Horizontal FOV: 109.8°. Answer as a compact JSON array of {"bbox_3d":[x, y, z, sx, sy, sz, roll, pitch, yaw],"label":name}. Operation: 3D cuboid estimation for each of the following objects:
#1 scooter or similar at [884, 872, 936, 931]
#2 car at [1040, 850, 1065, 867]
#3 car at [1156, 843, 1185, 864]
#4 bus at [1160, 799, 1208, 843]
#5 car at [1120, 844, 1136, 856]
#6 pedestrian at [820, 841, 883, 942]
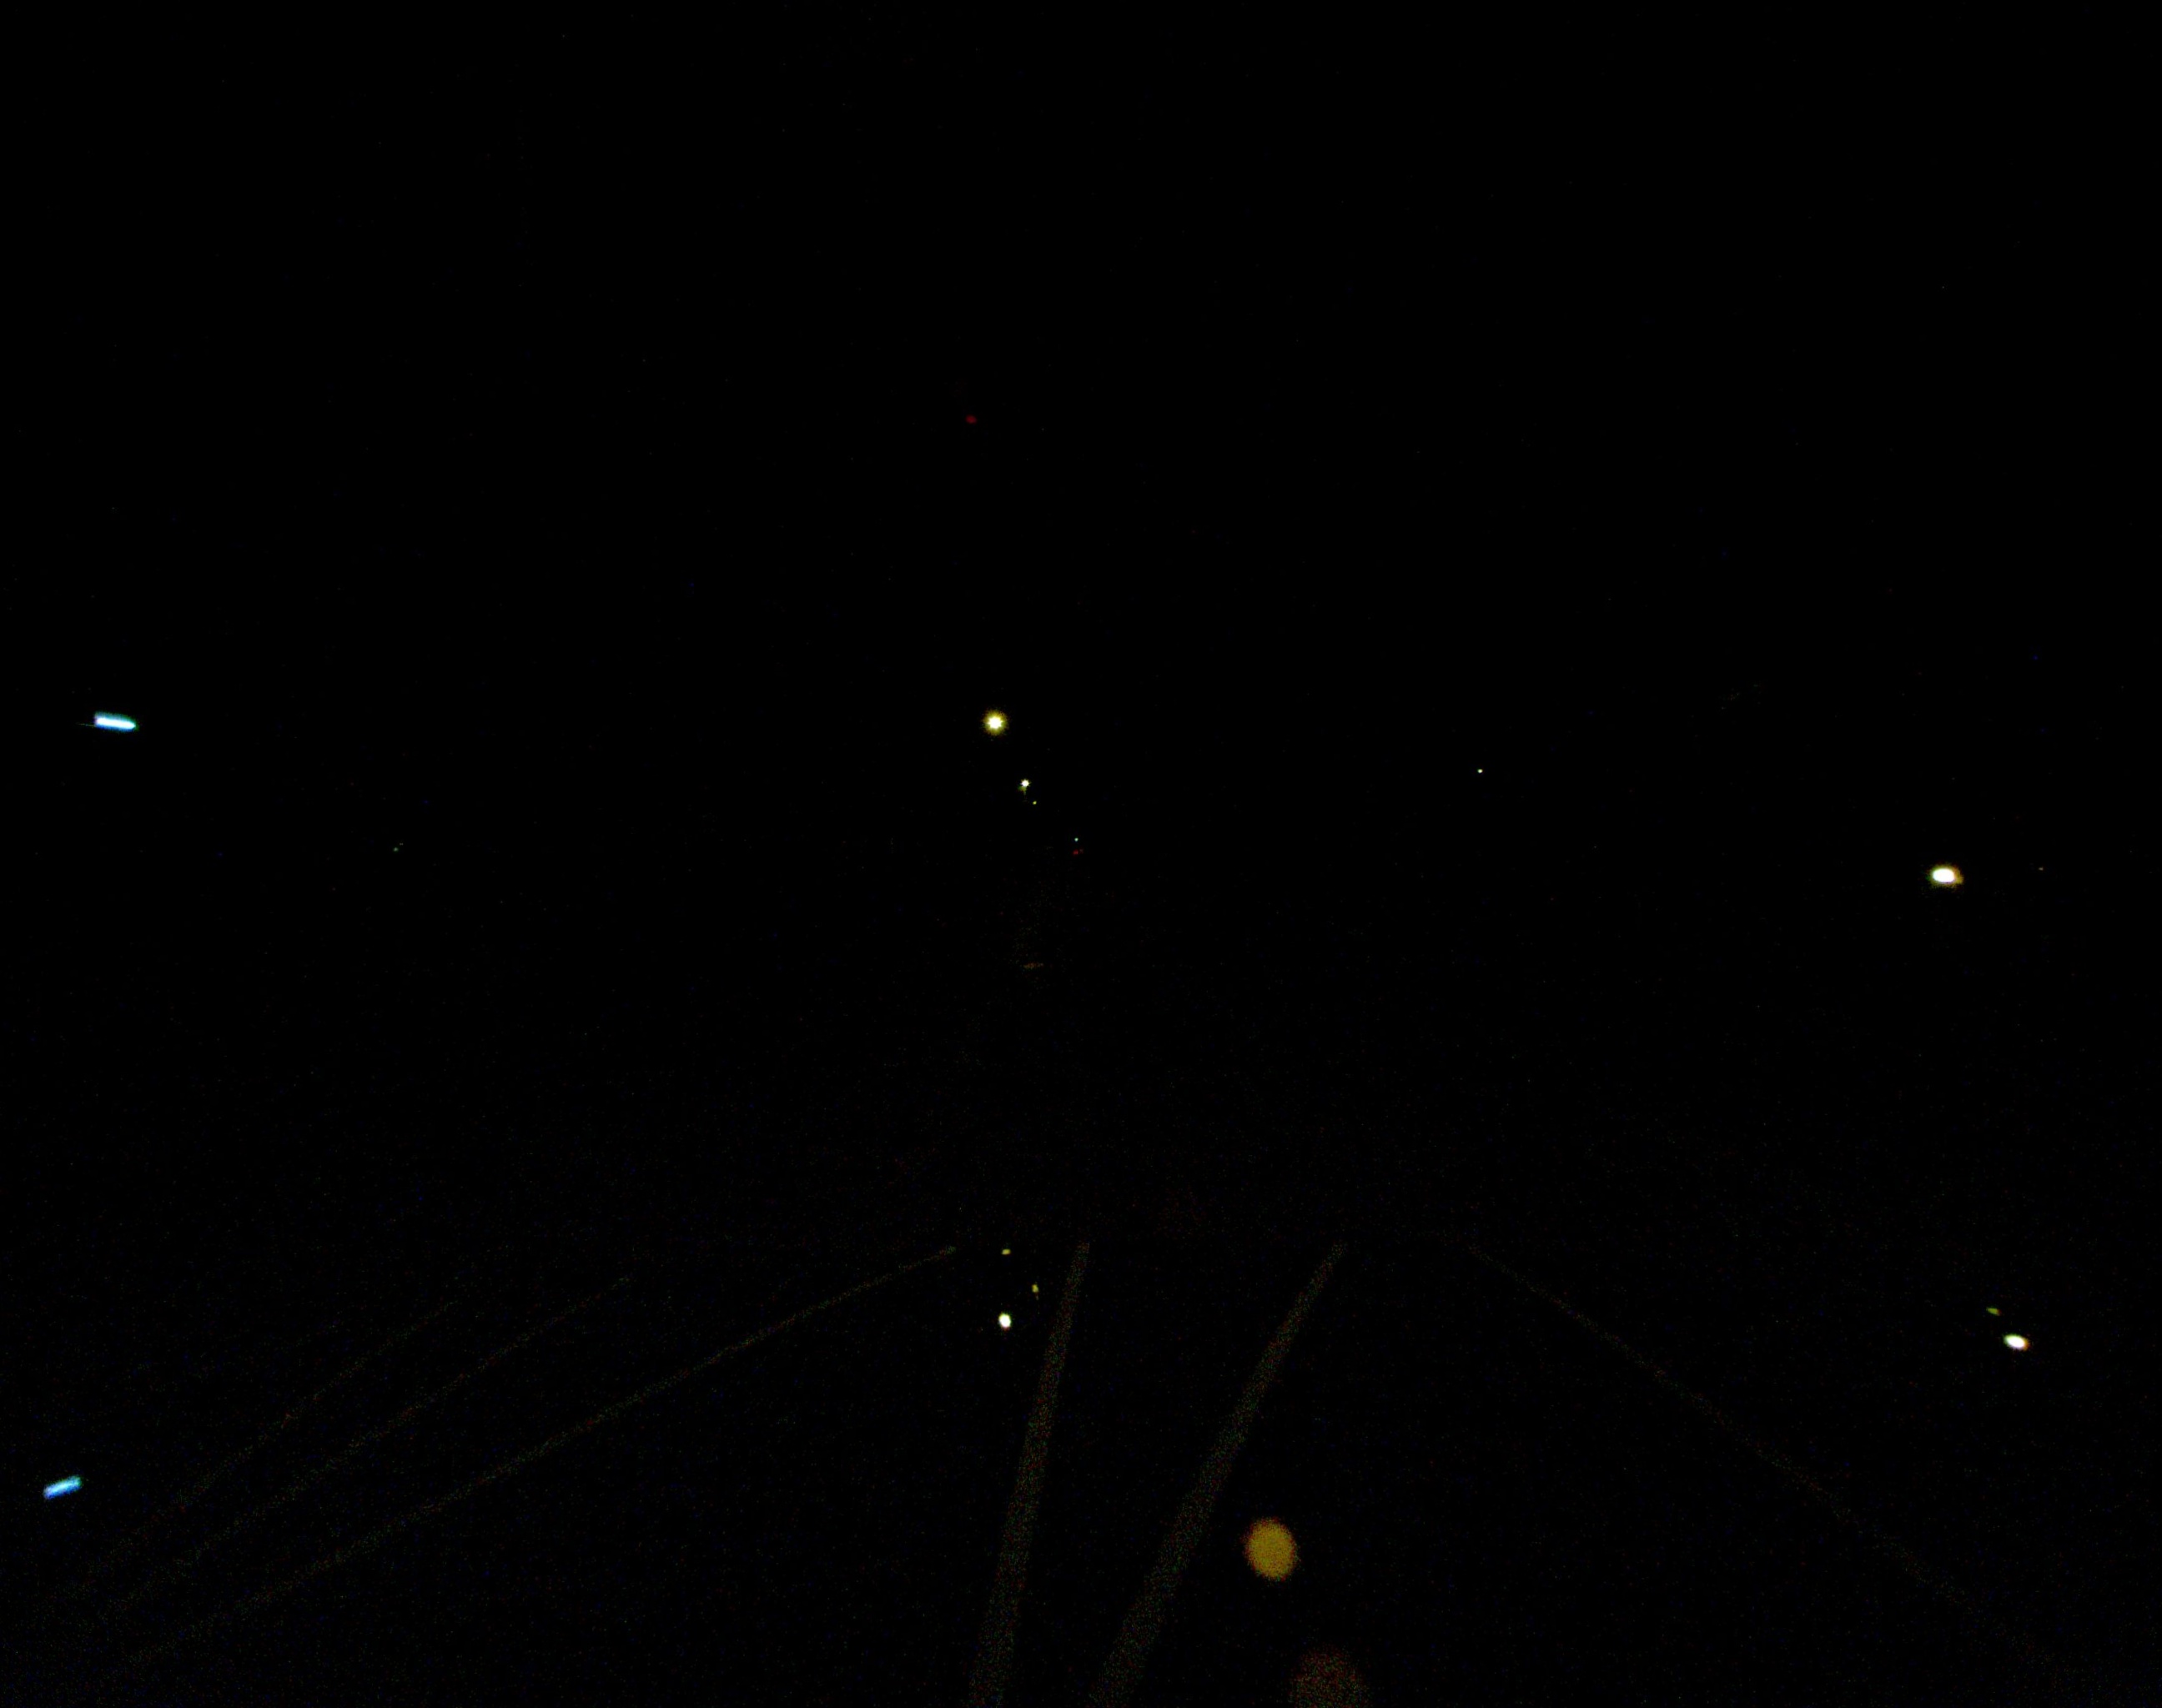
[{"bbox_3d":[-3.656,0.994,16.329,0.468,1.195,1.137,-2,0,24],"label":"scooter or similar"},{"bbox_3d":[-2.897,0.438,78.313,1.998,1.638,4.001,-1,1,5],"label":"car"},{"bbox_3d":[7.155,-0.077,61.031,1.806,1.583,3.999,-2,1,0],"label":"car"},{"bbox_3d":[17.302,-5.428,129.509,6.135,6.898,14.781,-2,1,1],"label":"bus"},{"bbox_3d":[6.243,-0.492,100.697,1.863,1.484,4.080,-2,1,1],"label":"car"},{"bbox_3d":[-4.431,0.700,14.757,0.819,1.854,1.034,-2,1,1],"label":"pedestrian"}]
